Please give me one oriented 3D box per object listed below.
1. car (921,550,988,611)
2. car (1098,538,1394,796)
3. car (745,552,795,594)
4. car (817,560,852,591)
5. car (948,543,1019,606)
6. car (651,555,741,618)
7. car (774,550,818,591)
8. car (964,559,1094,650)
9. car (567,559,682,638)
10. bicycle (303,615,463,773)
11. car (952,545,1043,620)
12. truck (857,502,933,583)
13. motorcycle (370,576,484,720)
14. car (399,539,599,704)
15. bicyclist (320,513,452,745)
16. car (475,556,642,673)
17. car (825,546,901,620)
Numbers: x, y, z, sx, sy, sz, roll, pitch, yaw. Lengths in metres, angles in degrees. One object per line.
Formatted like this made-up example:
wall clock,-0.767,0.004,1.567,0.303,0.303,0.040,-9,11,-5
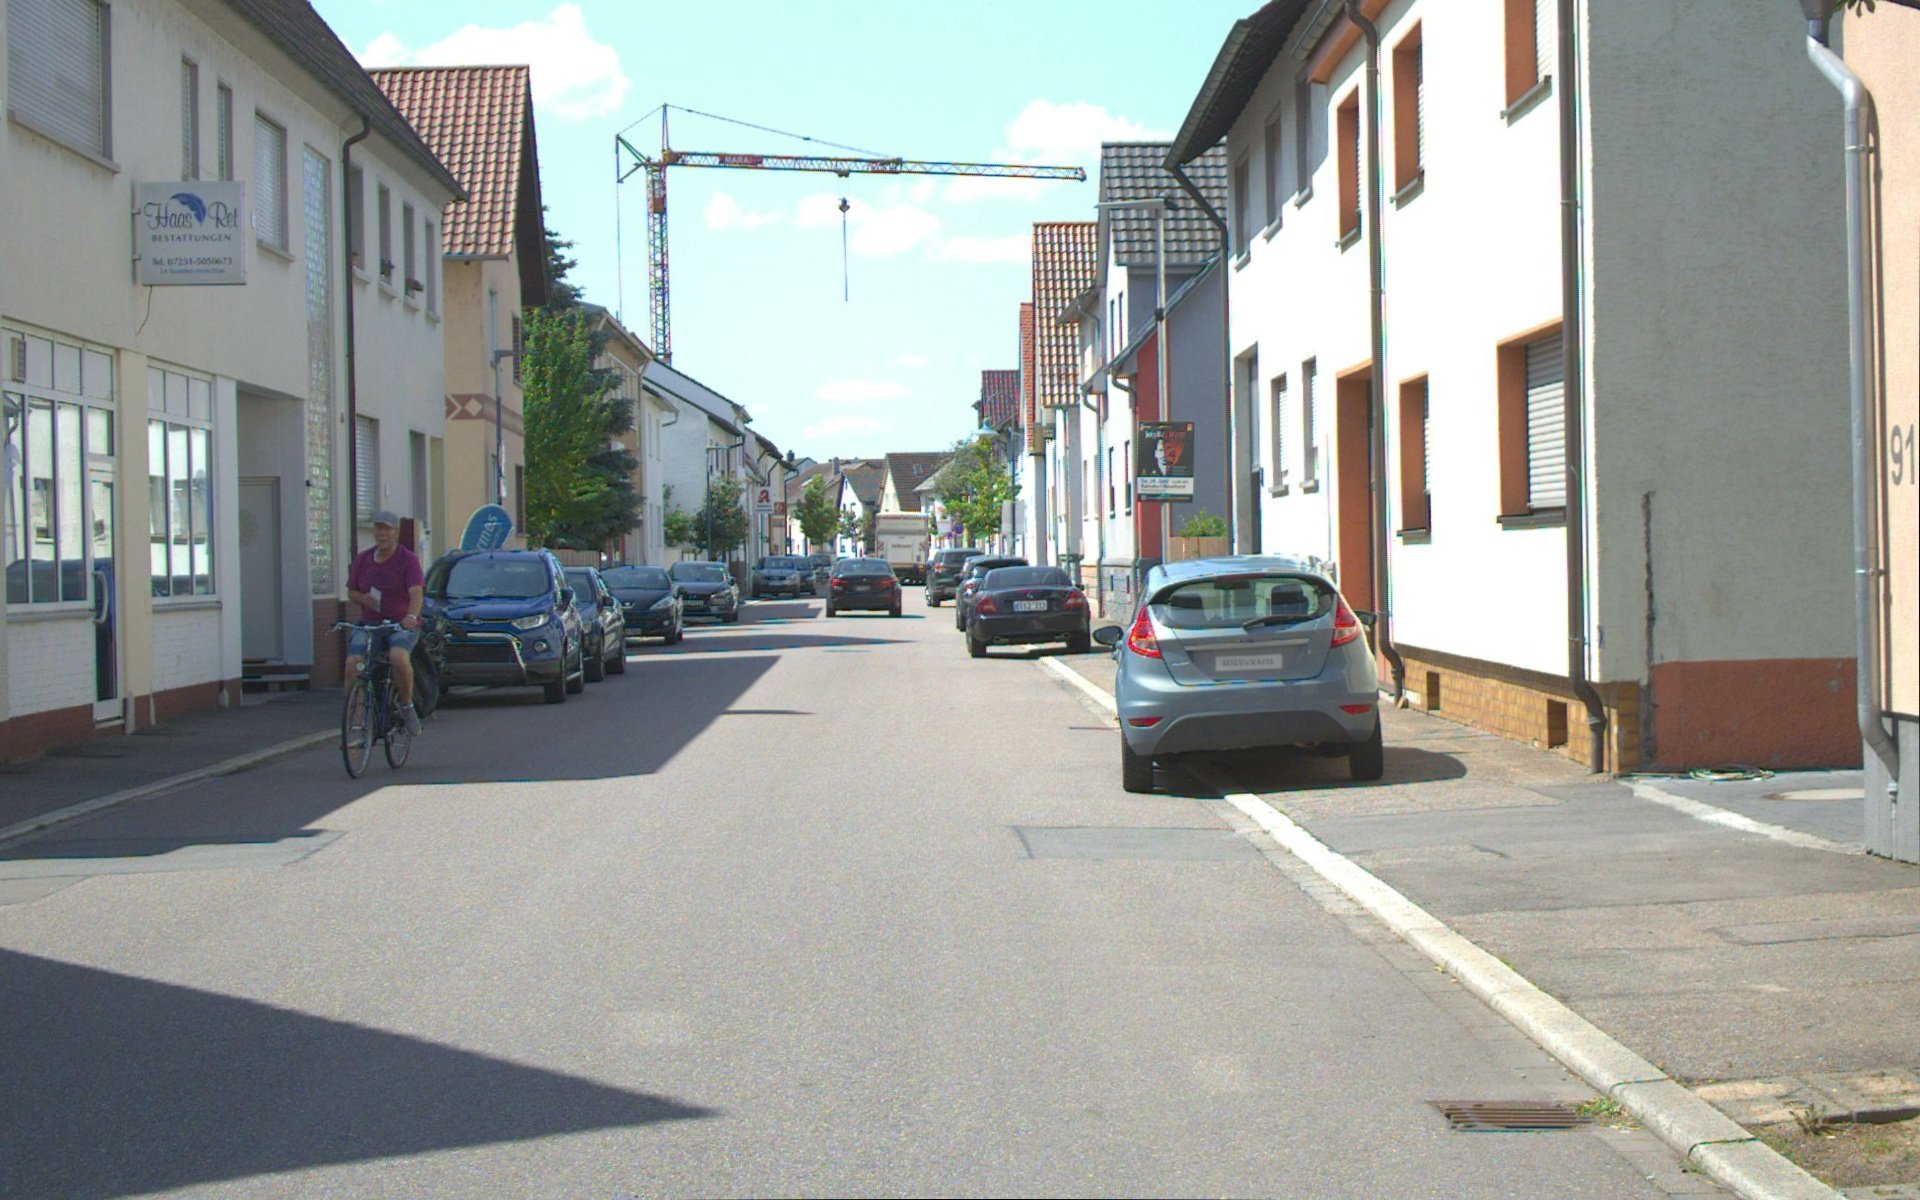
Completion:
car,-0.180,-0.579,100.429,1.728,1.711,4.276,-1,1,-3
car,1.854,0.380,23.073,1.722,1.476,3.749,-4,1,3
car,-7.299,-1.057,132.352,1.758,1.519,4.289,-1,1,-2
car,-6.506,-1.293,178.805,1.723,1.550,4.172,0,1,0
car,0.578,-0.667,87.996,1.617,1.490,3.972,-4,1,-1
car,-6.345,-0.351,82.921,1.768,1.455,4.436,-1,1,1
car,-6.644,-1.196,139.538,1.653,1.603,4.061,-1,1,-2
car,0.998,0.035,51.476,1.815,1.271,4.147,-1,1,0
car,-6.015,-0.049,61.967,1.761,1.369,4.067,0,1,-1
bicycle,-4.097,0.650,24.551,0.743,1.044,1.940,0,1,2
car,0.724,-0.363,68.565,1.688,1.417,3.657,-1,1,-1
truck,-3.388,-2.883,174.875,3.378,3.852,13.928,-2,1,-2
motorcycle,-5.109,0.439,33.084,0.808,1.308,2.106,-1,1,-2
car,-4.987,0.188,37.621,1.717,1.634,4.149,-3,1,-2
bicyclist,-4.099,0.196,24.612,0.747,1.631,0.956,0,1,2
car,-5.142,0.150,44.467,1.697,1.407,4.390,-1,1,-1
car,-2.423,-0.432,85.179,1.782,1.747,4.000,-2,1,-2
